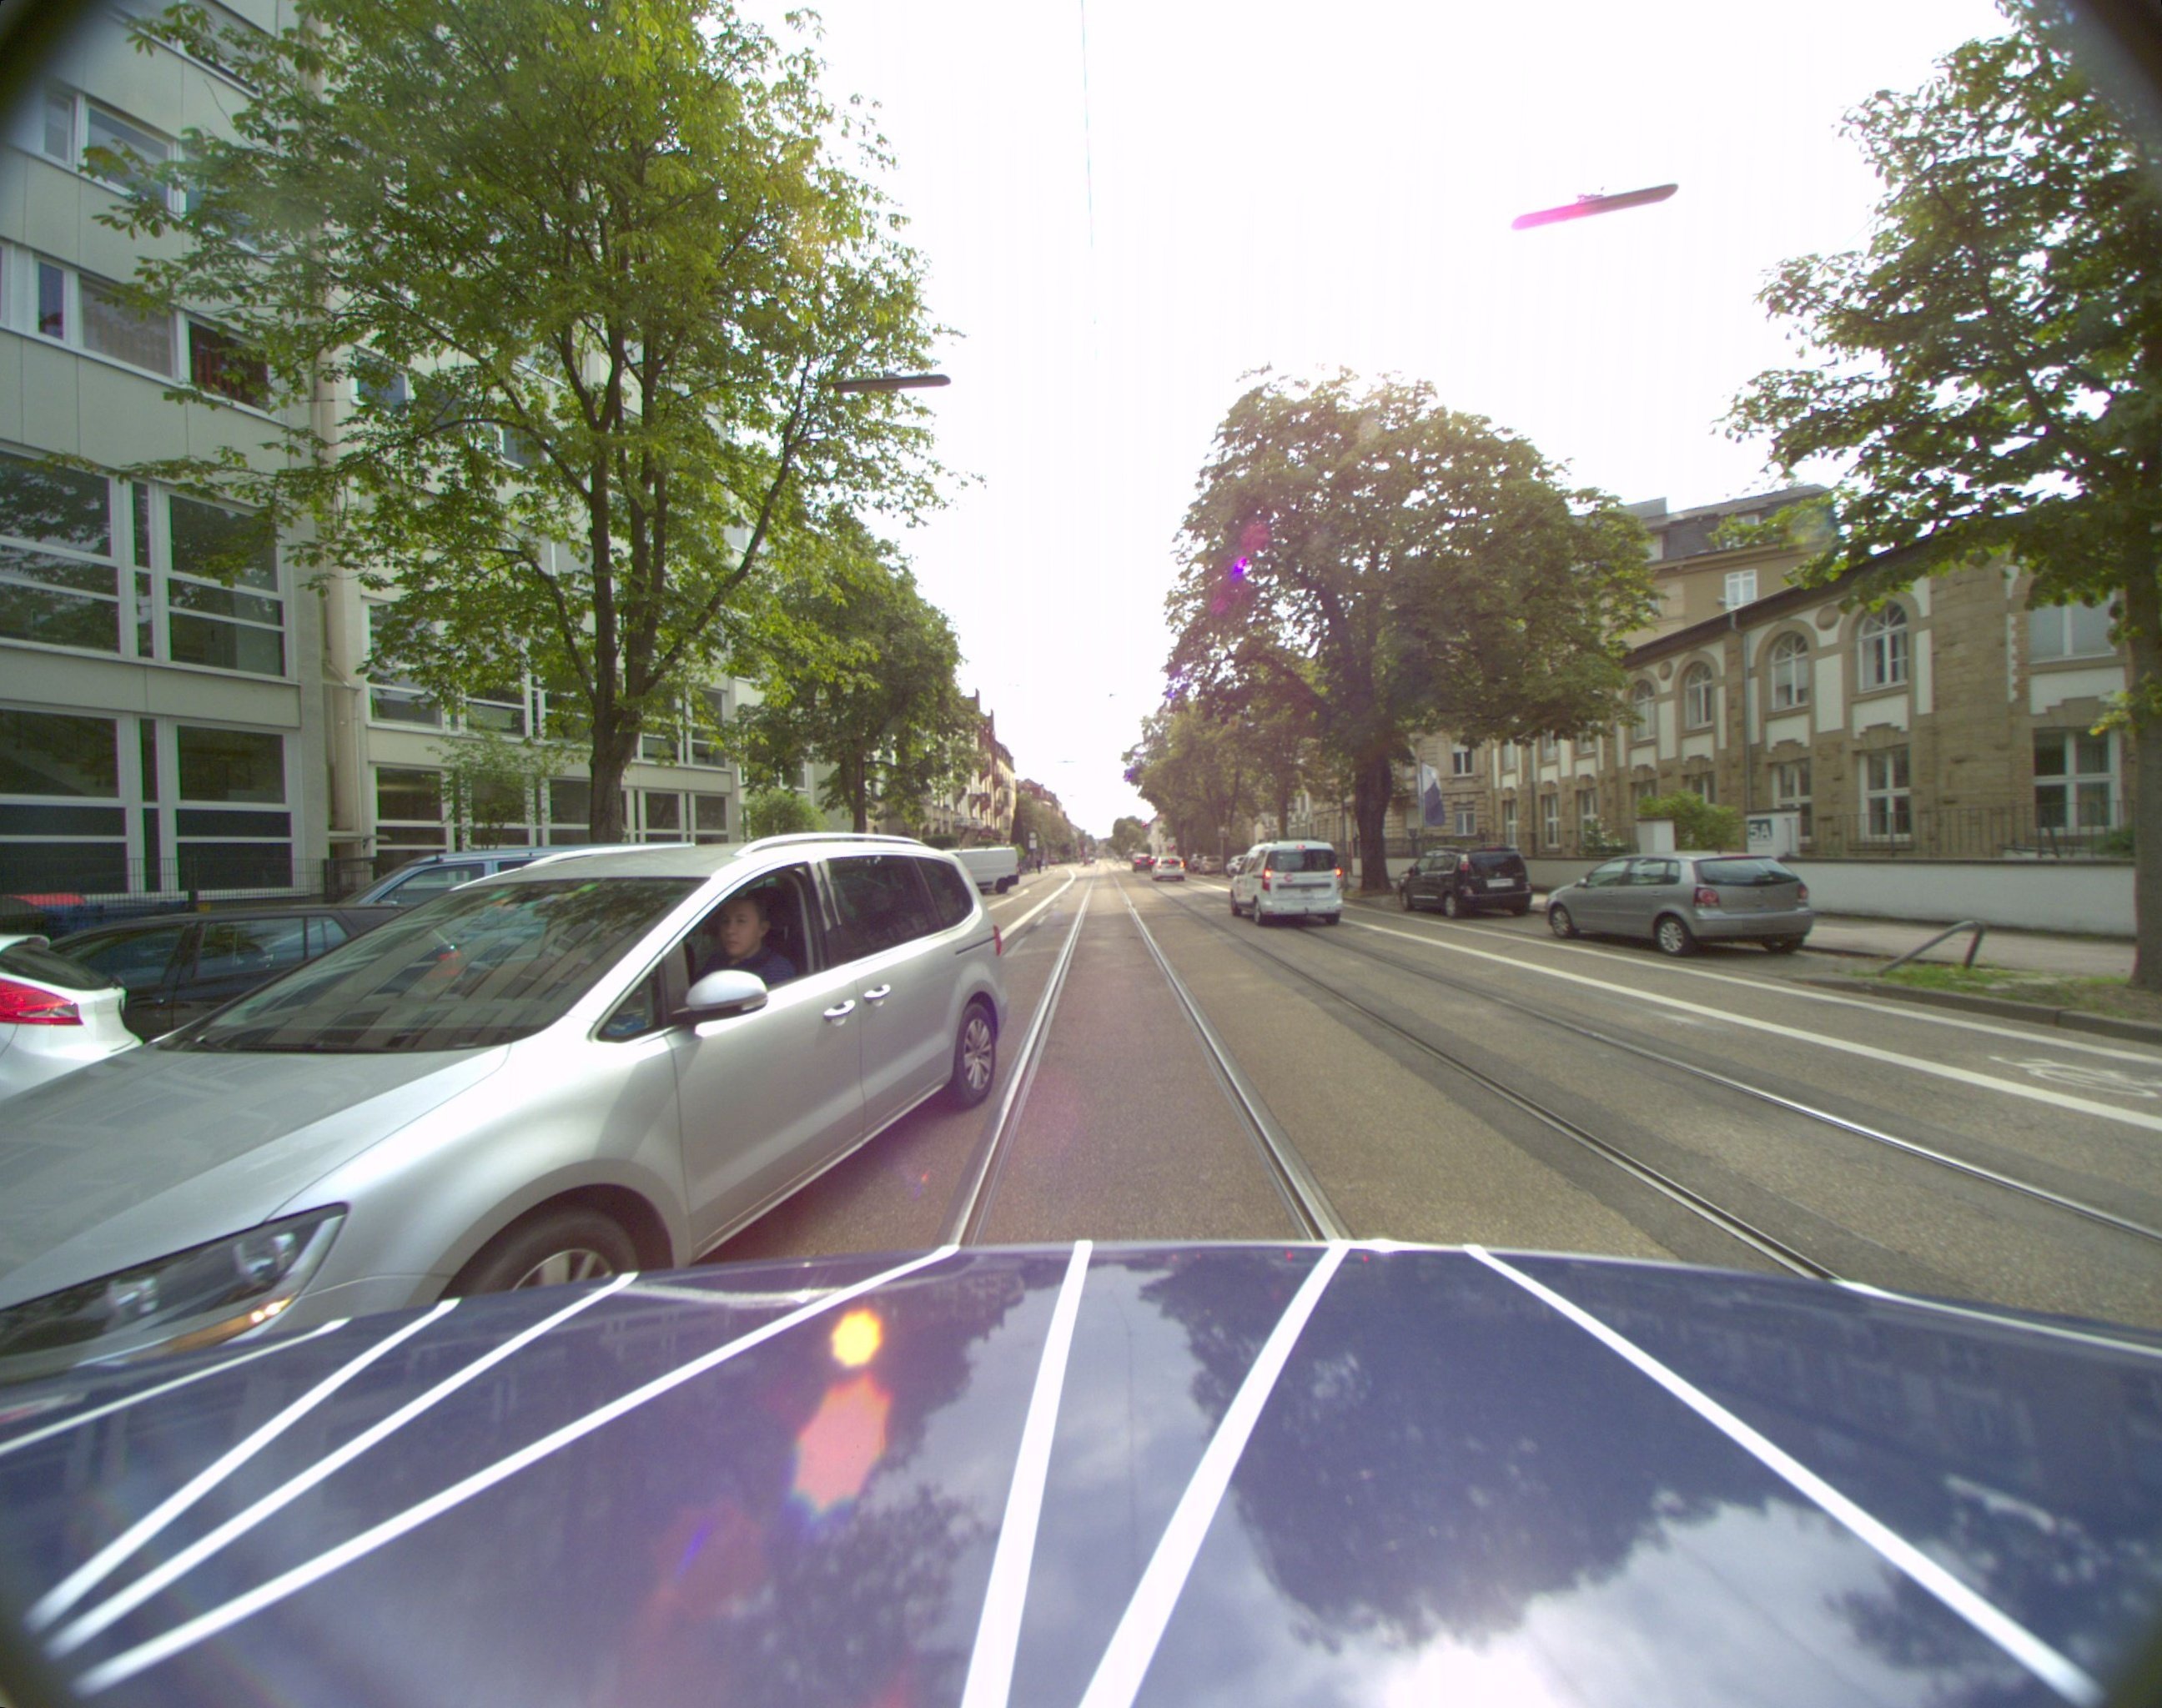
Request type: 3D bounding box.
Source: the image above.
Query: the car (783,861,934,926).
[{"bbox_3d":[-6.456,1.084,22.228,3.777,1.609,1.809,-3,1,-40],"label":"car"}]

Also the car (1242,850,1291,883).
[{"bbox_3d":[9.912,0.650,40.800,1.658,1.624,3.906,-2,0,1],"label":"car"}]

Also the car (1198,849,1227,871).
[{"bbox_3d":[10.371,0.458,60.099,1.658,1.624,3.906,-2,0,1],"label":"car"}]

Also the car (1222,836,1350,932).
[{"bbox_3d":[4.508,0.597,17.367,1.736,1.873,4.378,-2,0,1],"label":"car"}]

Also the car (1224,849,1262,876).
[{"bbox_3d":[10.498,0.538,49.557,1.658,1.592,3.906,-2,0,1],"label":"car"}]

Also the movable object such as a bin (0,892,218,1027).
[{"bbox_3d":[-12.196,1.261,9.429,1.334,1.450,1.400,-2,0,5],"label":"movable object such as a bin"}]

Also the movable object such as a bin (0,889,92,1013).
[{"bbox_3d":[-14.457,1.290,10.239,1.177,1.559,1.177,-2,1,30],"label":"movable object such as a bin"}]

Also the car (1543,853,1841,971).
[{"bbox_3d":[8.883,0.735,11.482,1.632,1.456,3.574,-2,0,1],"label":"car"}]

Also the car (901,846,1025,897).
[{"bbox_3d":[-5.581,0.783,36.404,5.449,2.163,2.142,-2,1,-40],"label":"car"}]

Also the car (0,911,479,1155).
[{"bbox_3d":[-7.379,1.306,5.929,3.980,1.379,1.810,-3,-1,-44],"label":"car"}]

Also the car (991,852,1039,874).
[{"bbox_3d":[-5.679,0.761,65.000,3.649,1.666,1.764,-2,1,-25],"label":"car"}]

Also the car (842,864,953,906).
[{"bbox_3d":[-6.862,1.107,28.597,3.652,1.322,1.763,-3,1,-44],"label":"car"}]

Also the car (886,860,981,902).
[{"bbox_3d":[-6.353,1.133,32.728,3.649,1.580,1.764,-2,1,-25],"label":"car"}]

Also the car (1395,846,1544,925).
[{"bbox_3d":[9.055,0.670,18.070,1.658,1.624,3.725,-2,0,1],"label":"car"}]

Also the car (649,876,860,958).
[{"bbox_3d":[-6.786,1.220,16.012,3.652,1.322,1.763,-3,1,-44],"label":"car"}]

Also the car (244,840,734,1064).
[{"bbox_3d":[-6.949,0.918,9.374,4.354,2.052,1.994,-2,0,-44],"label":"car"}]

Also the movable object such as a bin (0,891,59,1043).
[{"bbox_3d":[-12.182,1.234,7.872,1.334,1.586,1.354,-2,0,5],"label":"movable object such as a bin"}]

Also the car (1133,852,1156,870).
[{"bbox_3d":[5.950,0.632,71.672,1.852,1.603,4.334,-2,0,1],"label":"car"}]

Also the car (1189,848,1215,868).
[{"bbox_3d":[10.709,0.358,67.408,1.658,1.624,3.906,-2,0,1],"label":"car"}]

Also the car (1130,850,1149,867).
[{"bbox_3d":[6.414,0.506,84.011,1.799,1.813,4.678,-2,0,1],"label":"car"}]

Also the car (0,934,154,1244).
[{"bbox_3d":[-6.973,1.254,3.088,3.869,1.385,1.629,-2,0,-45],"label":"car"}]

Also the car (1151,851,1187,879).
[{"bbox_3d":[5.349,0.663,46.525,1.736,1.603,4.334,-1,0,1],"label":"car"}]

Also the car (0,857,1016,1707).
[{"bbox_3d":[-1.918,0.918,3.345,1.815,1.691,4.622,-2,0,14],"label":"car"}]
